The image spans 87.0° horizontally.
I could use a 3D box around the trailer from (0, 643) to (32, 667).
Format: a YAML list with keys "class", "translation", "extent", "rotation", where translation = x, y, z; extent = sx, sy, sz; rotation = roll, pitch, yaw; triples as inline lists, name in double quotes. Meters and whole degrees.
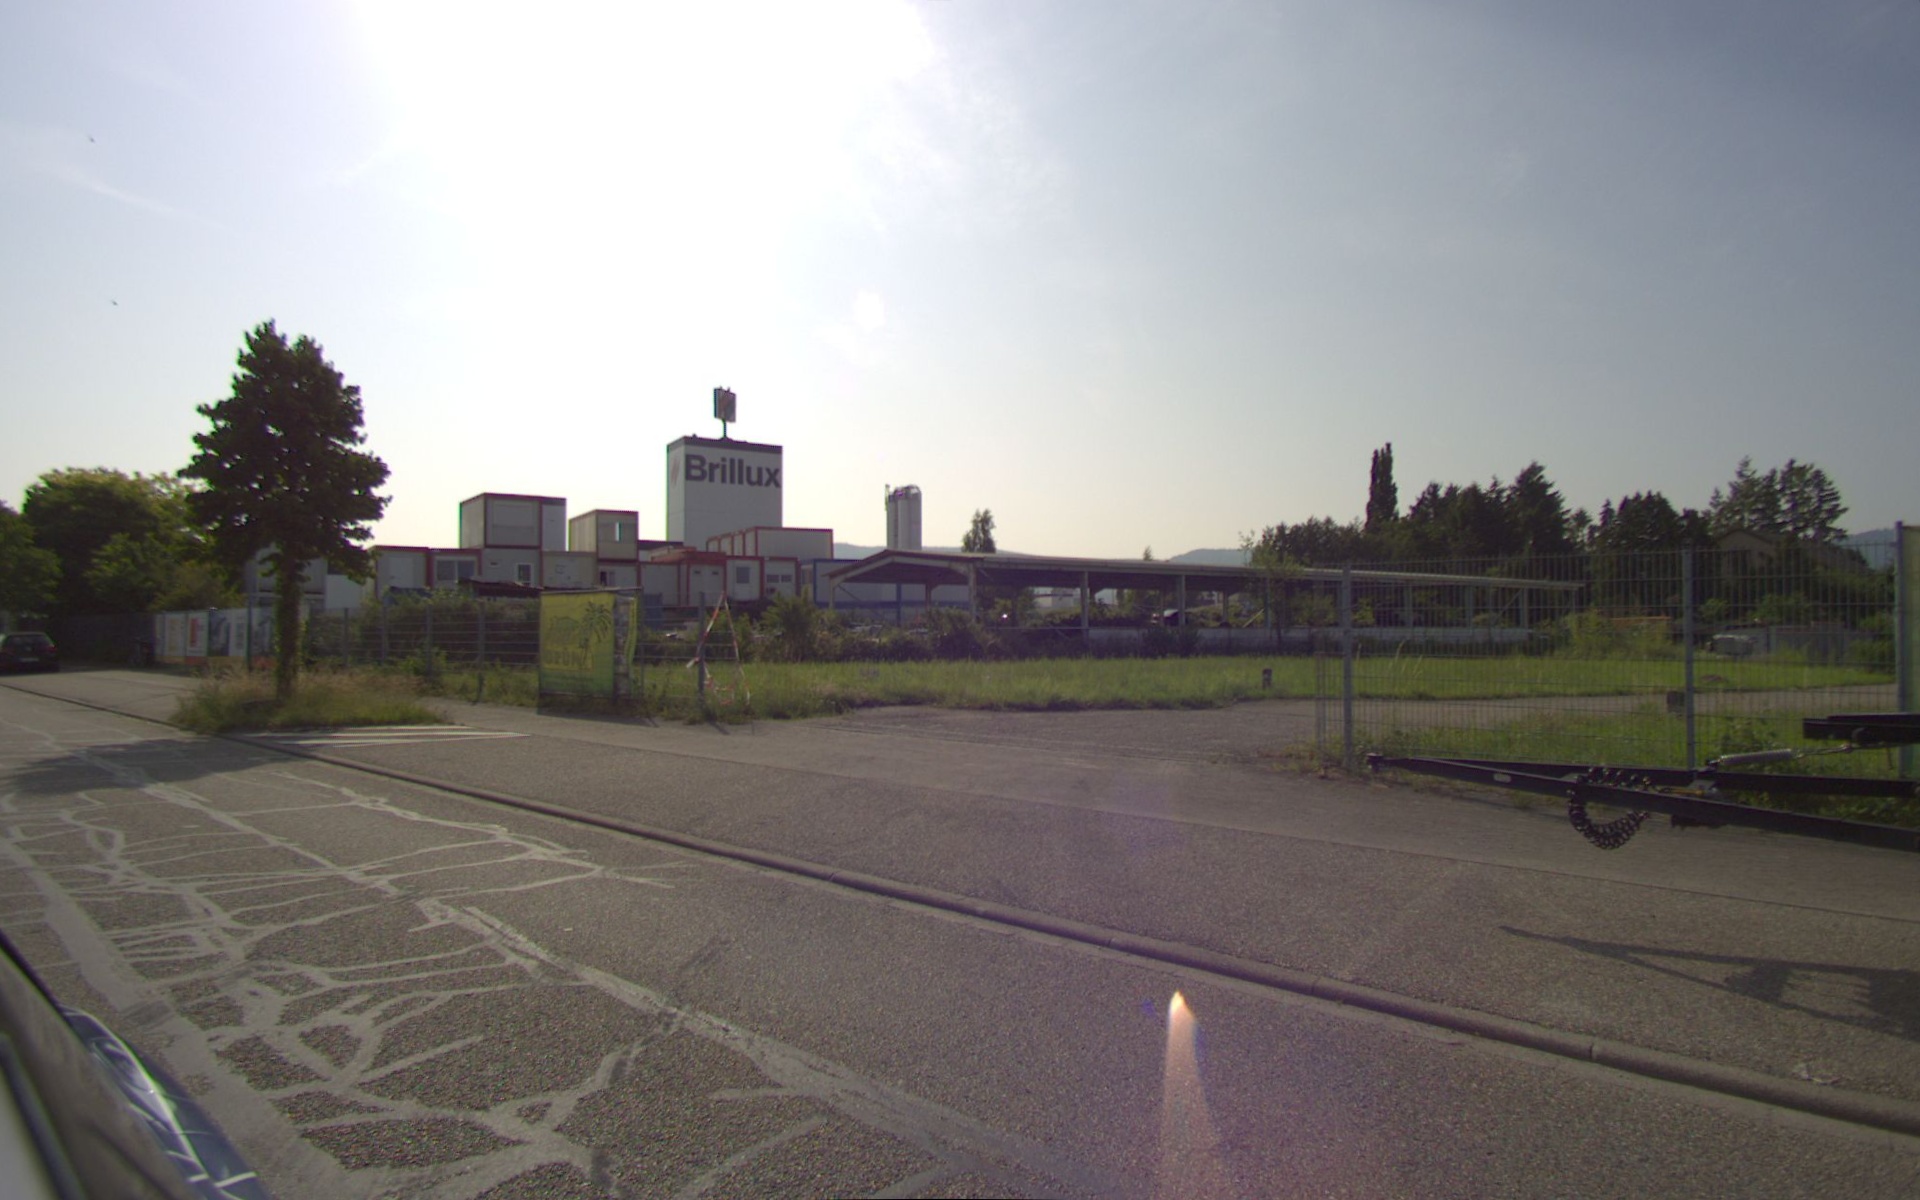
- class: "trailer"
  translation: [-42.784, 2.376, 44.085]
  extent: [6.237, 0.993, 2.622]
  rotation: [-2, -3, 40]

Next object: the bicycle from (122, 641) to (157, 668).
- class: "bicycle"
  translation: [-31.044, 2.065, 38.288]
  extent: [2.450, 0.980, 0.556]
  rotation: [-2, -2, 40]

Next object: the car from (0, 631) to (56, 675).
- class: "car"
  translation: [-33.421, 1.838, 35.824]
  extent: [4.092, 1.481, 1.669]
  rotation: [-2, -2, 42]

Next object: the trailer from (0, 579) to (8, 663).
- class: "trailer"
  translation: [-48.907, 1.072, 49.296]
  extent: [9.758, 3.914, 2.672]
  rotation: [-2, -1, 41]

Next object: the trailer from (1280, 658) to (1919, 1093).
- class: "trailer"
  translation: [5.805, 0.874, 2.436]
  extent: [9.355, 1.193, 2.556]
  rotation: [-2, -1, 40]

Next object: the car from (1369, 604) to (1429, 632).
- class: "car"
  translation: [29.601, 1.211, 68.264]
  extent: [3.836, 1.821, 1.752]
  rotation: [1, -2, -30]
